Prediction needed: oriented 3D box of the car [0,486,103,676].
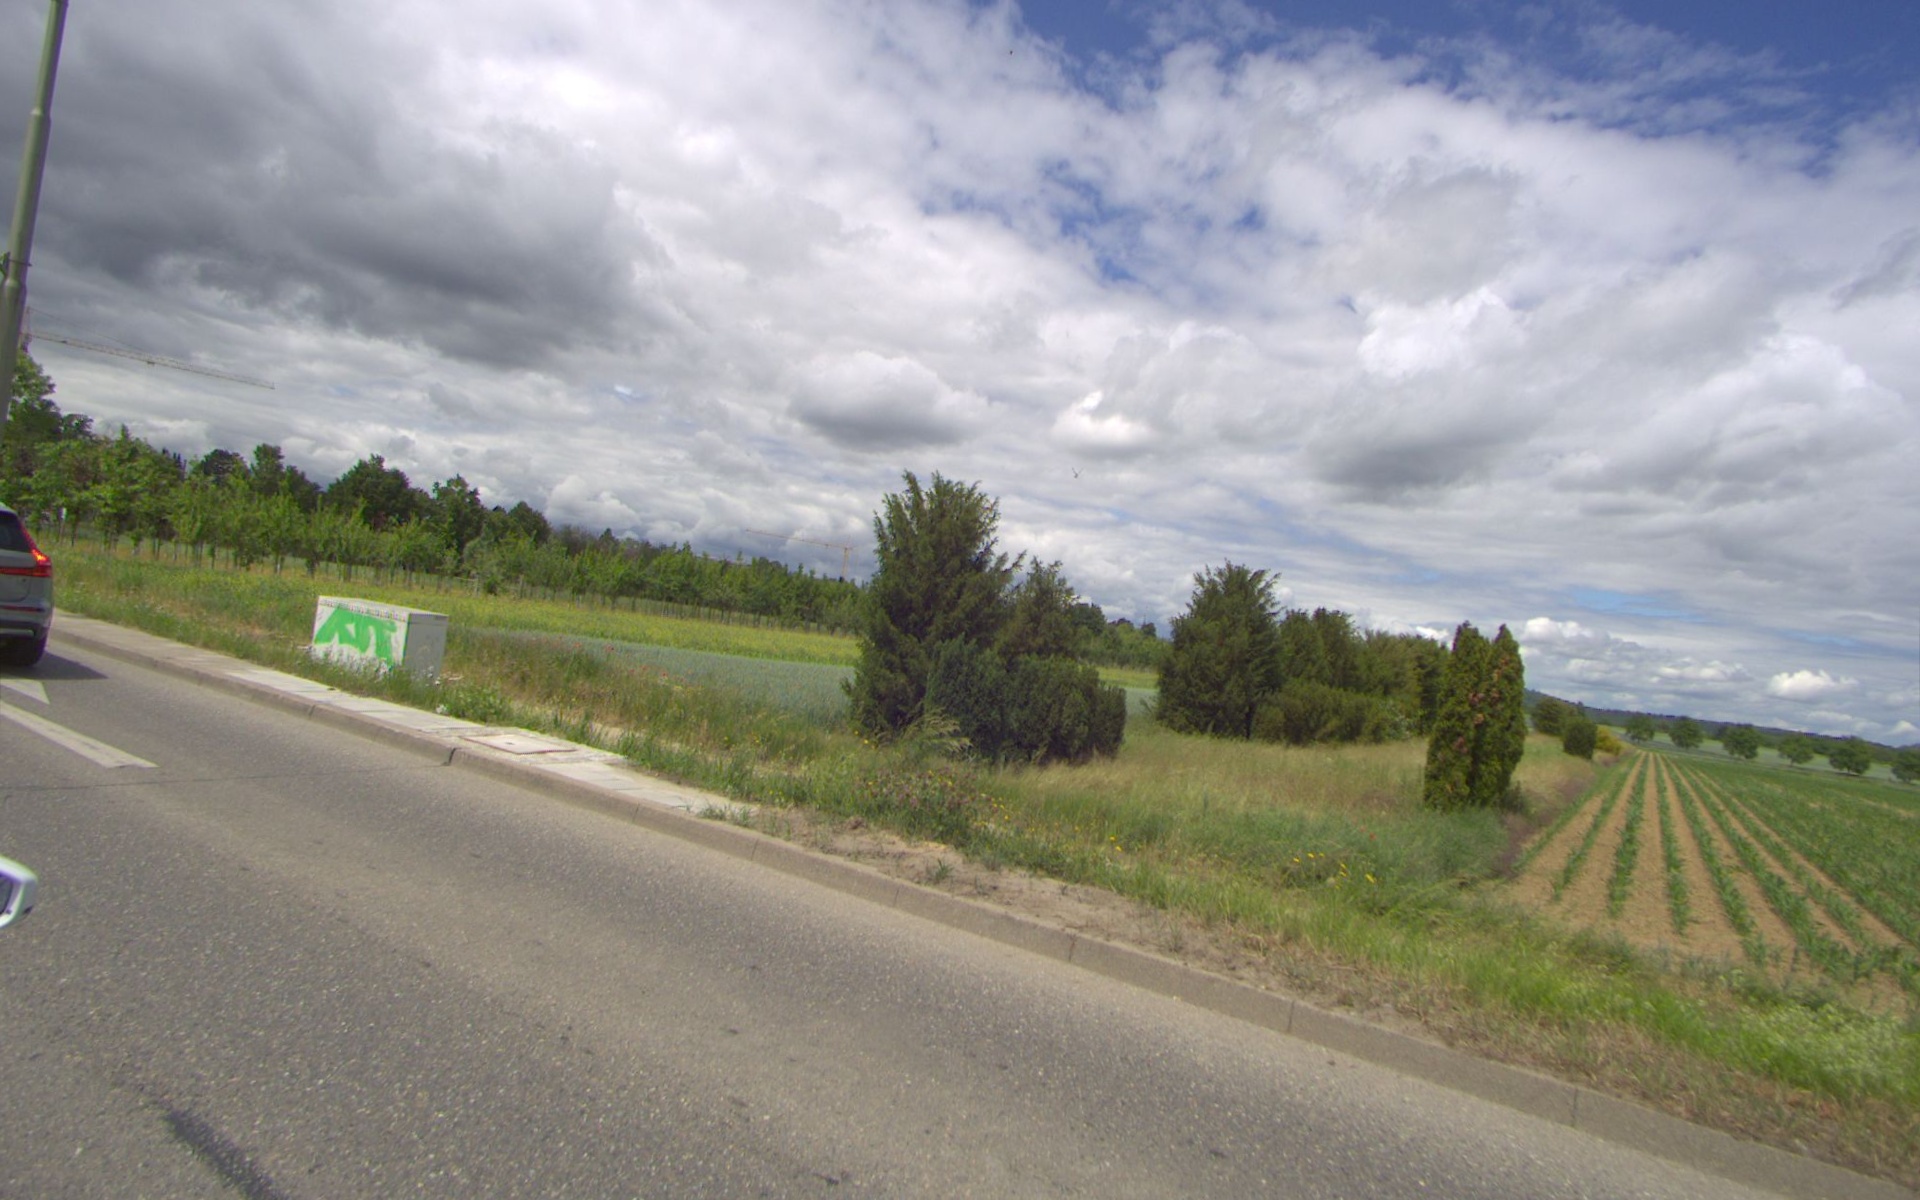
[{"bbox_3d":[-9.786,-0.361,8.997,4.268,1.544,1.960,6,0,32],"label":"car"}]
